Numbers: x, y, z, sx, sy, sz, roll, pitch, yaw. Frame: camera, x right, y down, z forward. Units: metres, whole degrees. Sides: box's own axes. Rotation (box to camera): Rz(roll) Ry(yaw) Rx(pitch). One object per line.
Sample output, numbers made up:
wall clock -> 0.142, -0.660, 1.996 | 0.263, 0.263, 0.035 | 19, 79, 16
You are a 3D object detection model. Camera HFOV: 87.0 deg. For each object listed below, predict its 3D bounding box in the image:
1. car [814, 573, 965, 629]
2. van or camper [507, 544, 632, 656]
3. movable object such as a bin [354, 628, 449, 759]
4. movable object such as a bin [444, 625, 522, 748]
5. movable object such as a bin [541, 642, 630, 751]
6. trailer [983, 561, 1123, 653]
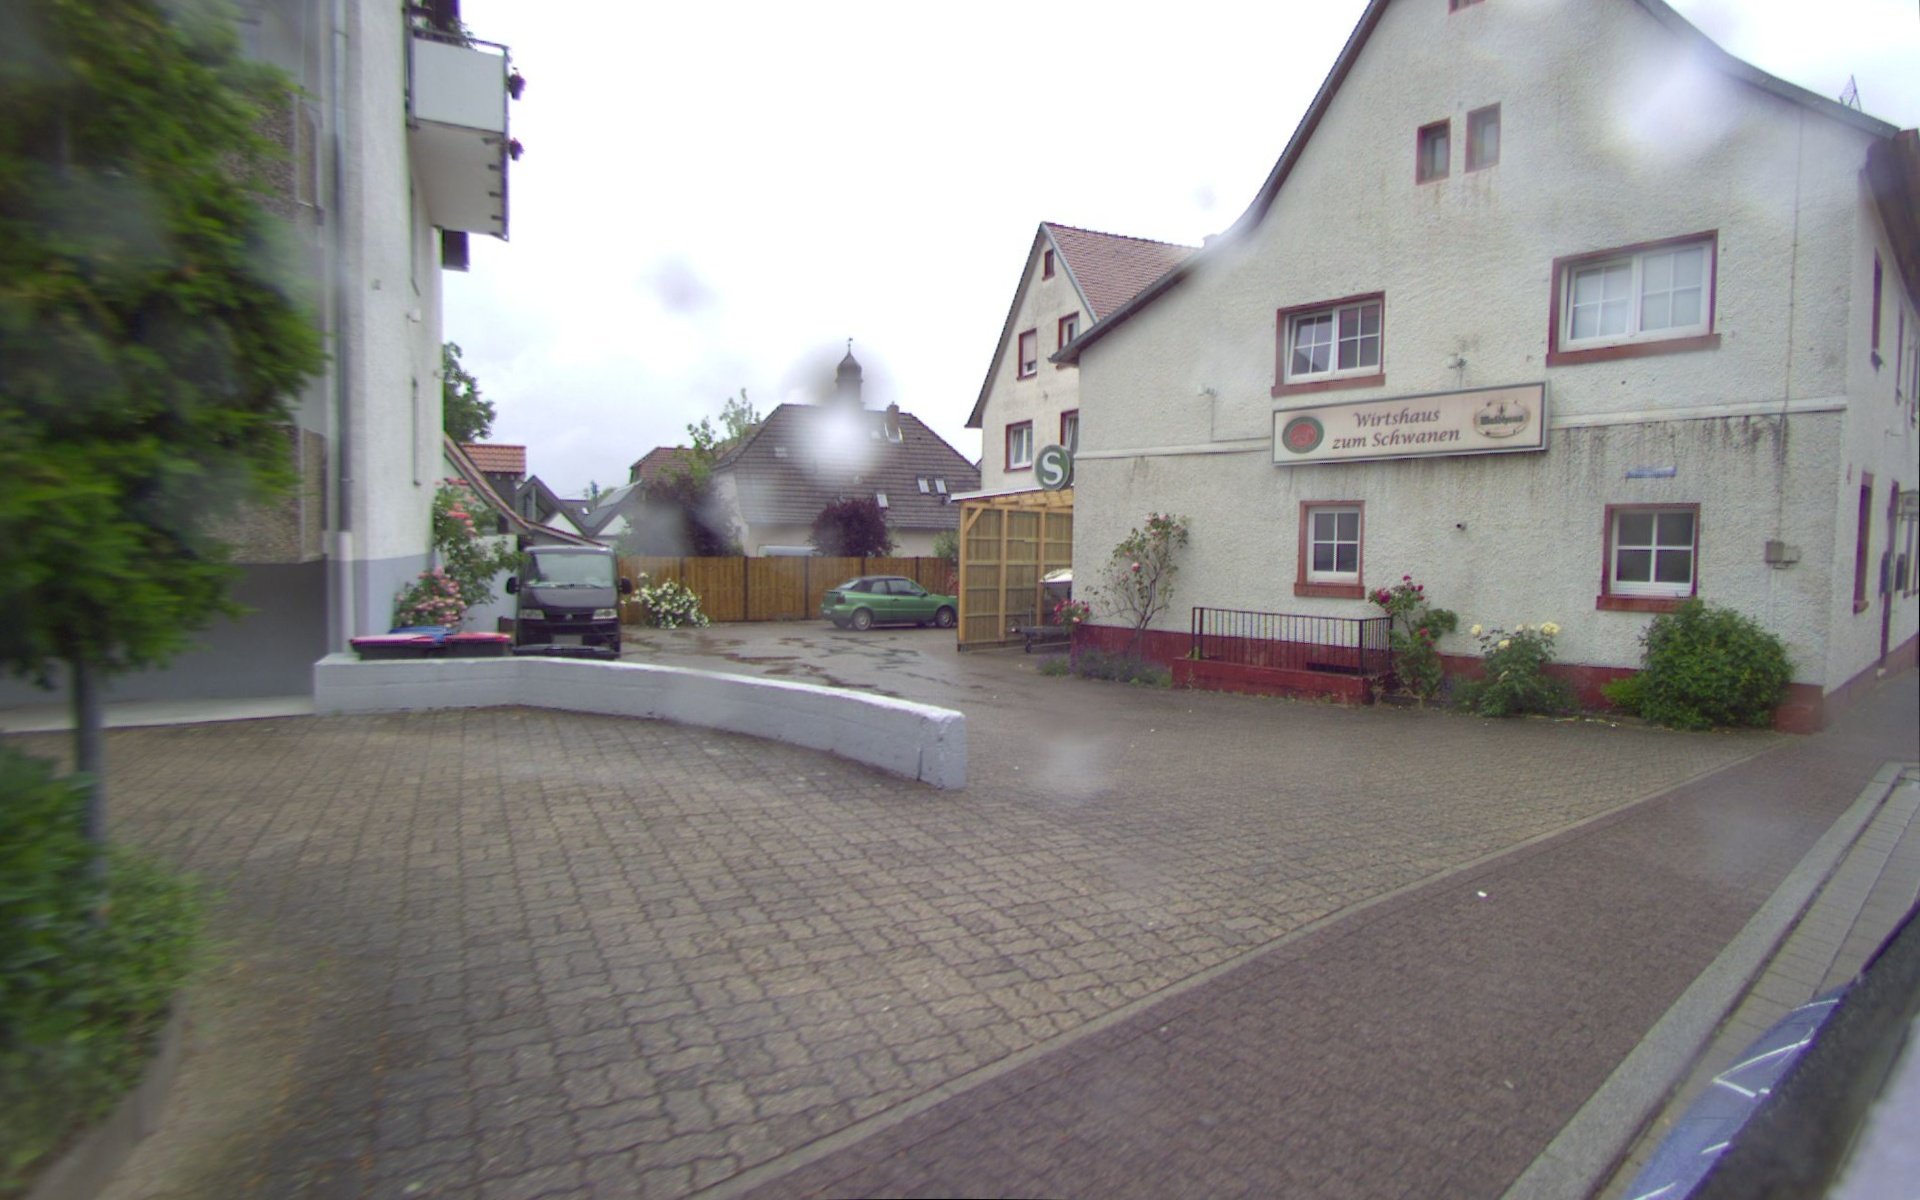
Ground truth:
car -> -1.896, -0.025, 27.427 | 3.749, 1.393, 1.636 | -1, 3, -28
van or camper -> -8.139, -0.109, 21.034 | 2.154, 2.038, 4.864 | 0, 2, -22
movable object such as a bin -> -5.203, 0.851, 9.462 | 0.676, 1.132, 0.627 | 0, 1, -20
movable object such as a bin -> -4.479, 0.794, 9.534 | 0.558, 1.080, 0.627 | 0, 1, -16
movable object such as a bin -> -3.558, 0.902, 9.644 | 0.643, 0.960, 0.626 | 0, 1, -4
trailer -> 1.945, 0.111, 20.926 | 2.567, 1.763, 1.570 | 0, 1, -44
